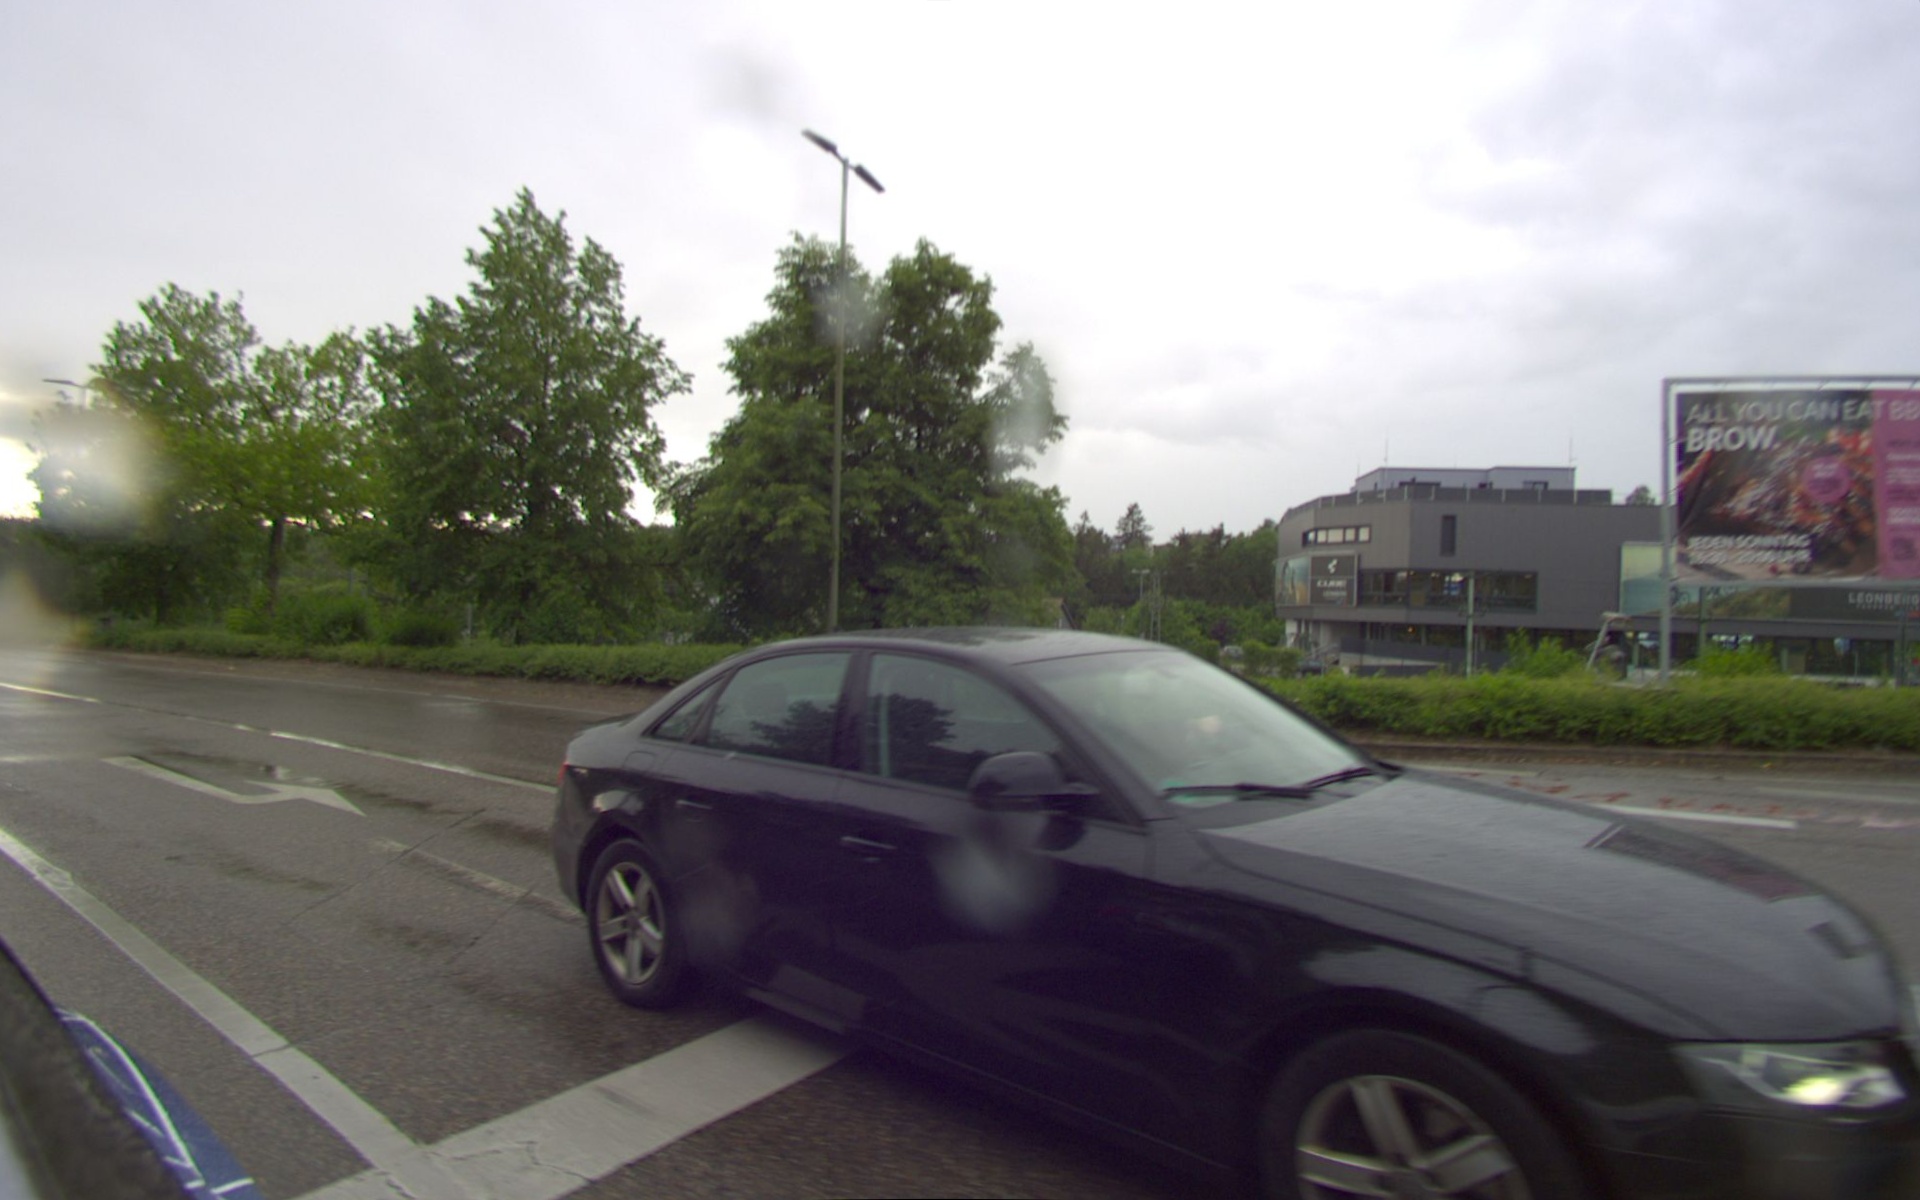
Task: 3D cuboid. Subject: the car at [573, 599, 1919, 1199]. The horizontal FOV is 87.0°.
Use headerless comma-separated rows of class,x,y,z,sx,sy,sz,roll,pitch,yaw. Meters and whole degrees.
car,0.632,0.711,3.136,3.997,1.406,1.737,0,0,40
